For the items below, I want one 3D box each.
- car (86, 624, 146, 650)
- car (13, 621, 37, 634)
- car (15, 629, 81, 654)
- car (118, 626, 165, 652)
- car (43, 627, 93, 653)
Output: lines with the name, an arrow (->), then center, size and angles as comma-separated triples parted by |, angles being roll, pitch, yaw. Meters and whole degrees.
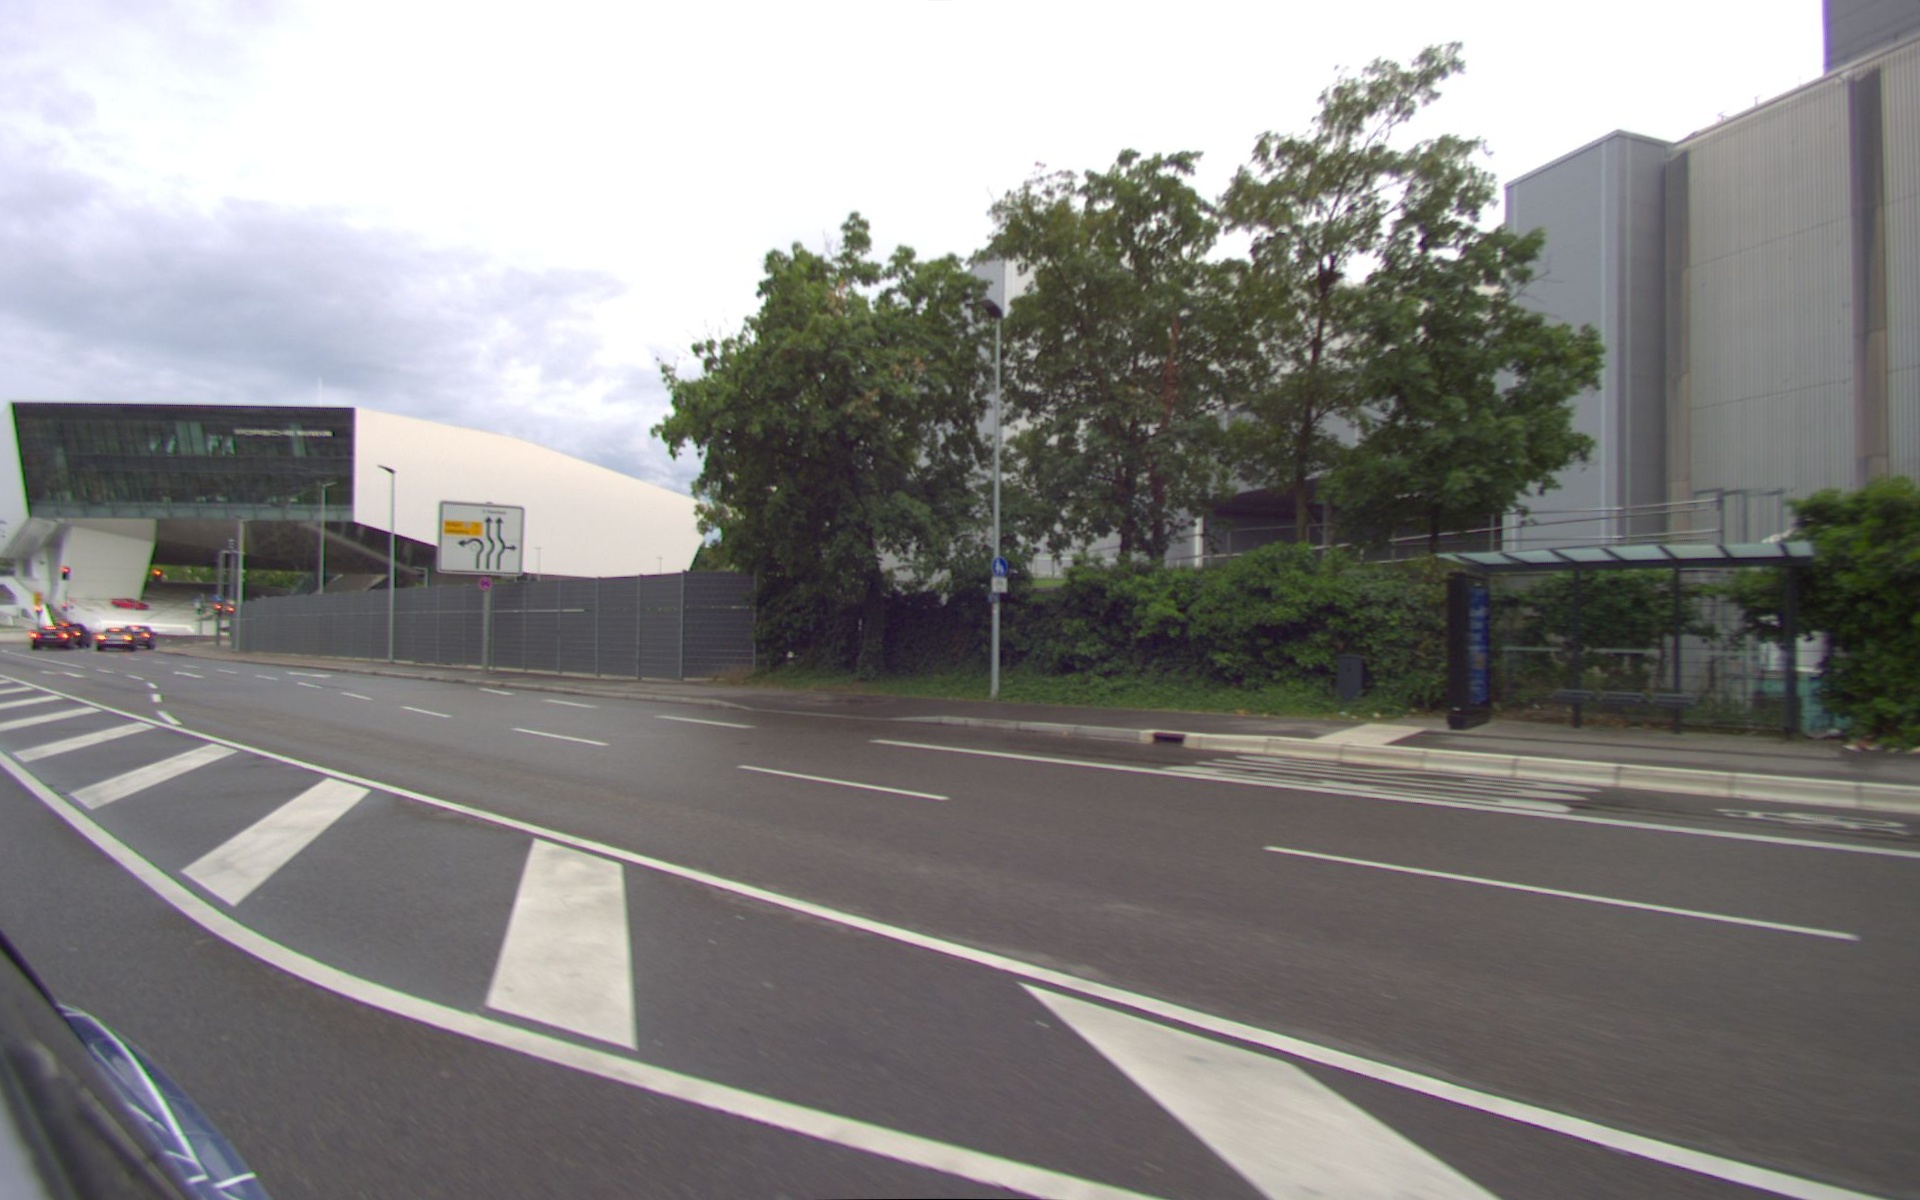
car -> -51.856, 2.260, 62.262 | 2.233, 1.488, 4.059 | 1, -2, -31
car -> -127.999, 3.756, 138.520 | 4.070, 1.632, 1.926 | -2, -4, 40
car -> -55.207, 2.492, 61.362 | 2.221, 1.488, 3.890 | 1, -2, -31
car -> -55.597, 2.653, 68.779 | 1.834, 1.663, 3.799 | 1, -2, -29
car -> -58.870, 2.637, 66.858 | 1.850, 1.663, 3.863 | 1, -2, -33
